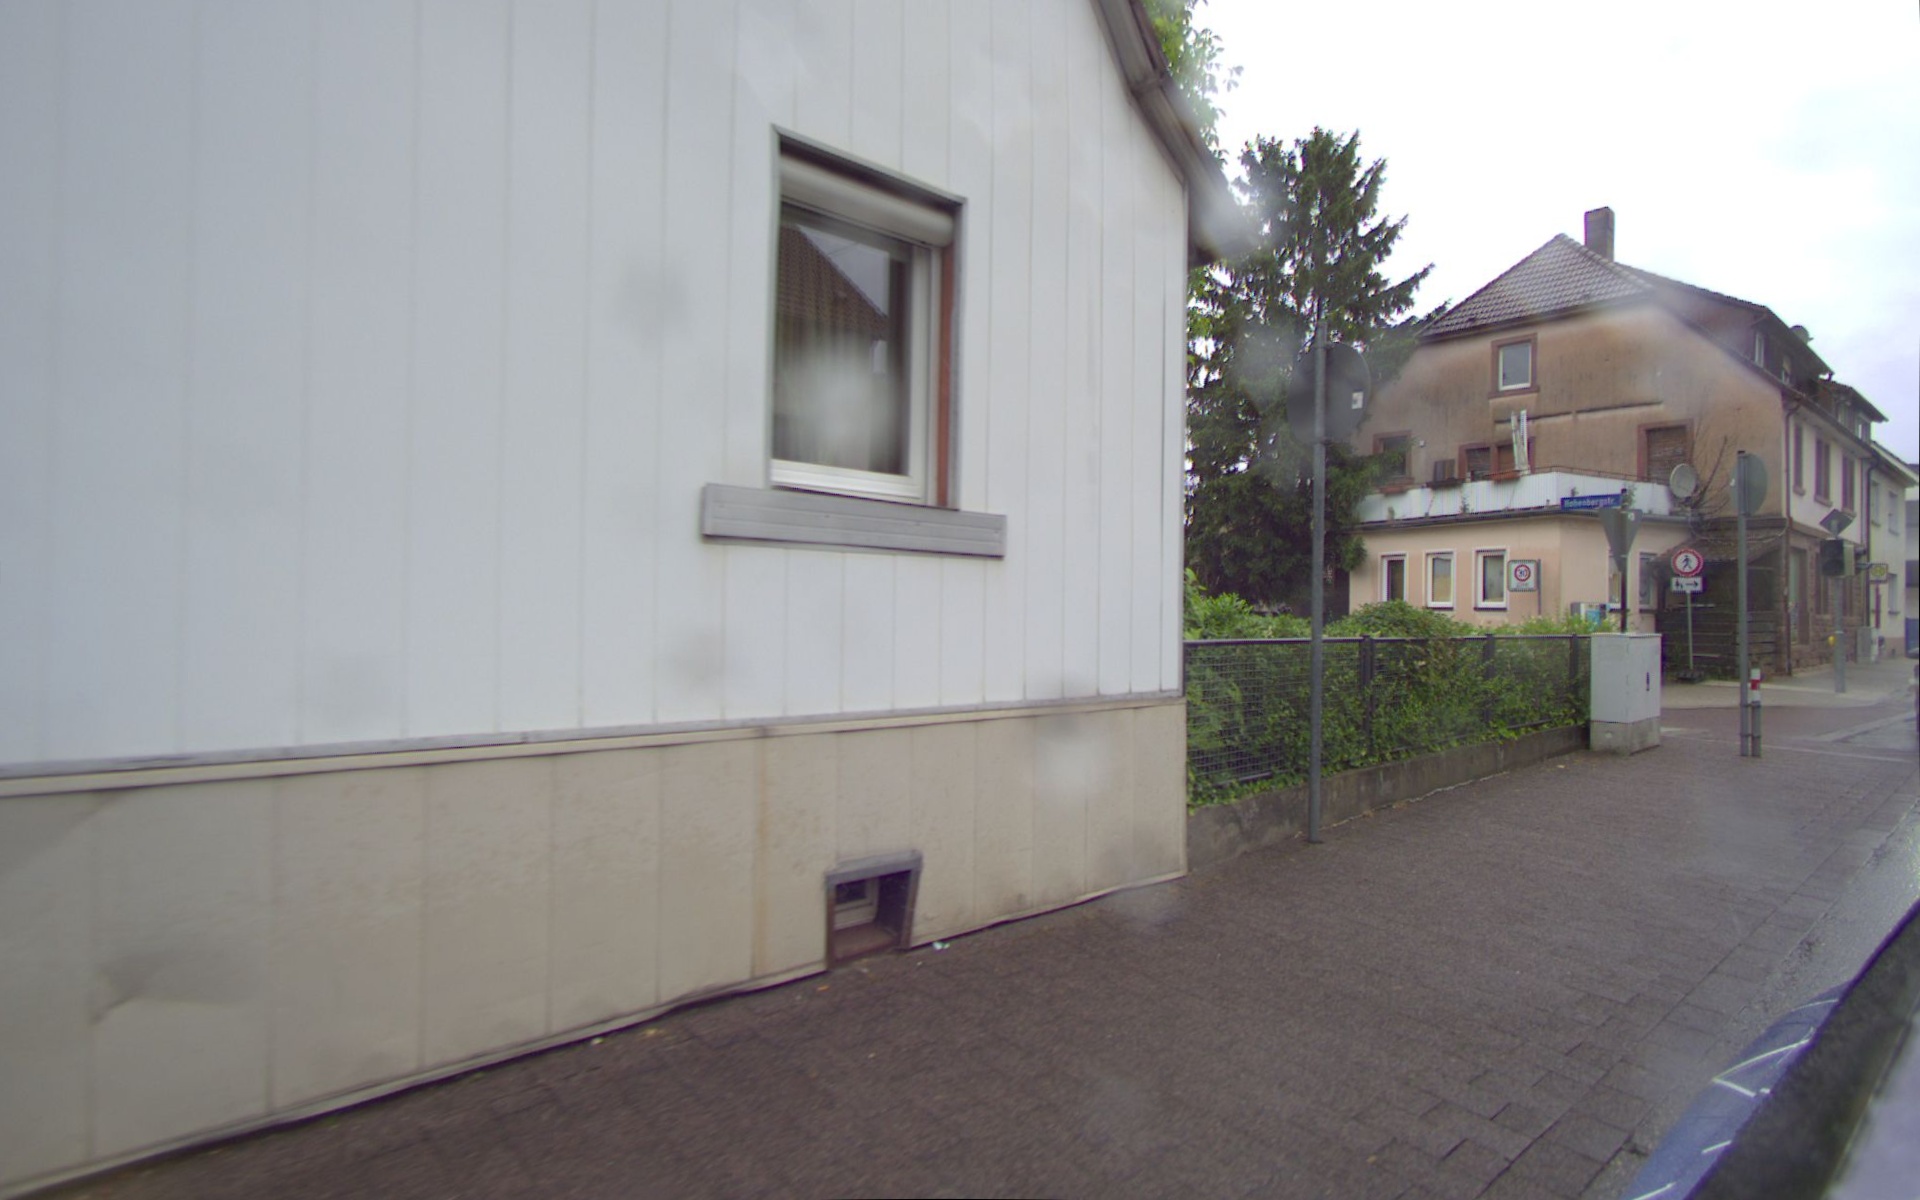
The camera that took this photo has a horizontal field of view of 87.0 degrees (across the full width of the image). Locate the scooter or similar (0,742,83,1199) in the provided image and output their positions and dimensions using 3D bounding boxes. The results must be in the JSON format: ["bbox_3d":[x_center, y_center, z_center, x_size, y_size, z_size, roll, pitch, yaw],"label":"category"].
[{"bbox_3d":[-2.194,0.821,1.697,1.081,1.041,0.245,1,1,-42],"label":"scooter or similar"}]
